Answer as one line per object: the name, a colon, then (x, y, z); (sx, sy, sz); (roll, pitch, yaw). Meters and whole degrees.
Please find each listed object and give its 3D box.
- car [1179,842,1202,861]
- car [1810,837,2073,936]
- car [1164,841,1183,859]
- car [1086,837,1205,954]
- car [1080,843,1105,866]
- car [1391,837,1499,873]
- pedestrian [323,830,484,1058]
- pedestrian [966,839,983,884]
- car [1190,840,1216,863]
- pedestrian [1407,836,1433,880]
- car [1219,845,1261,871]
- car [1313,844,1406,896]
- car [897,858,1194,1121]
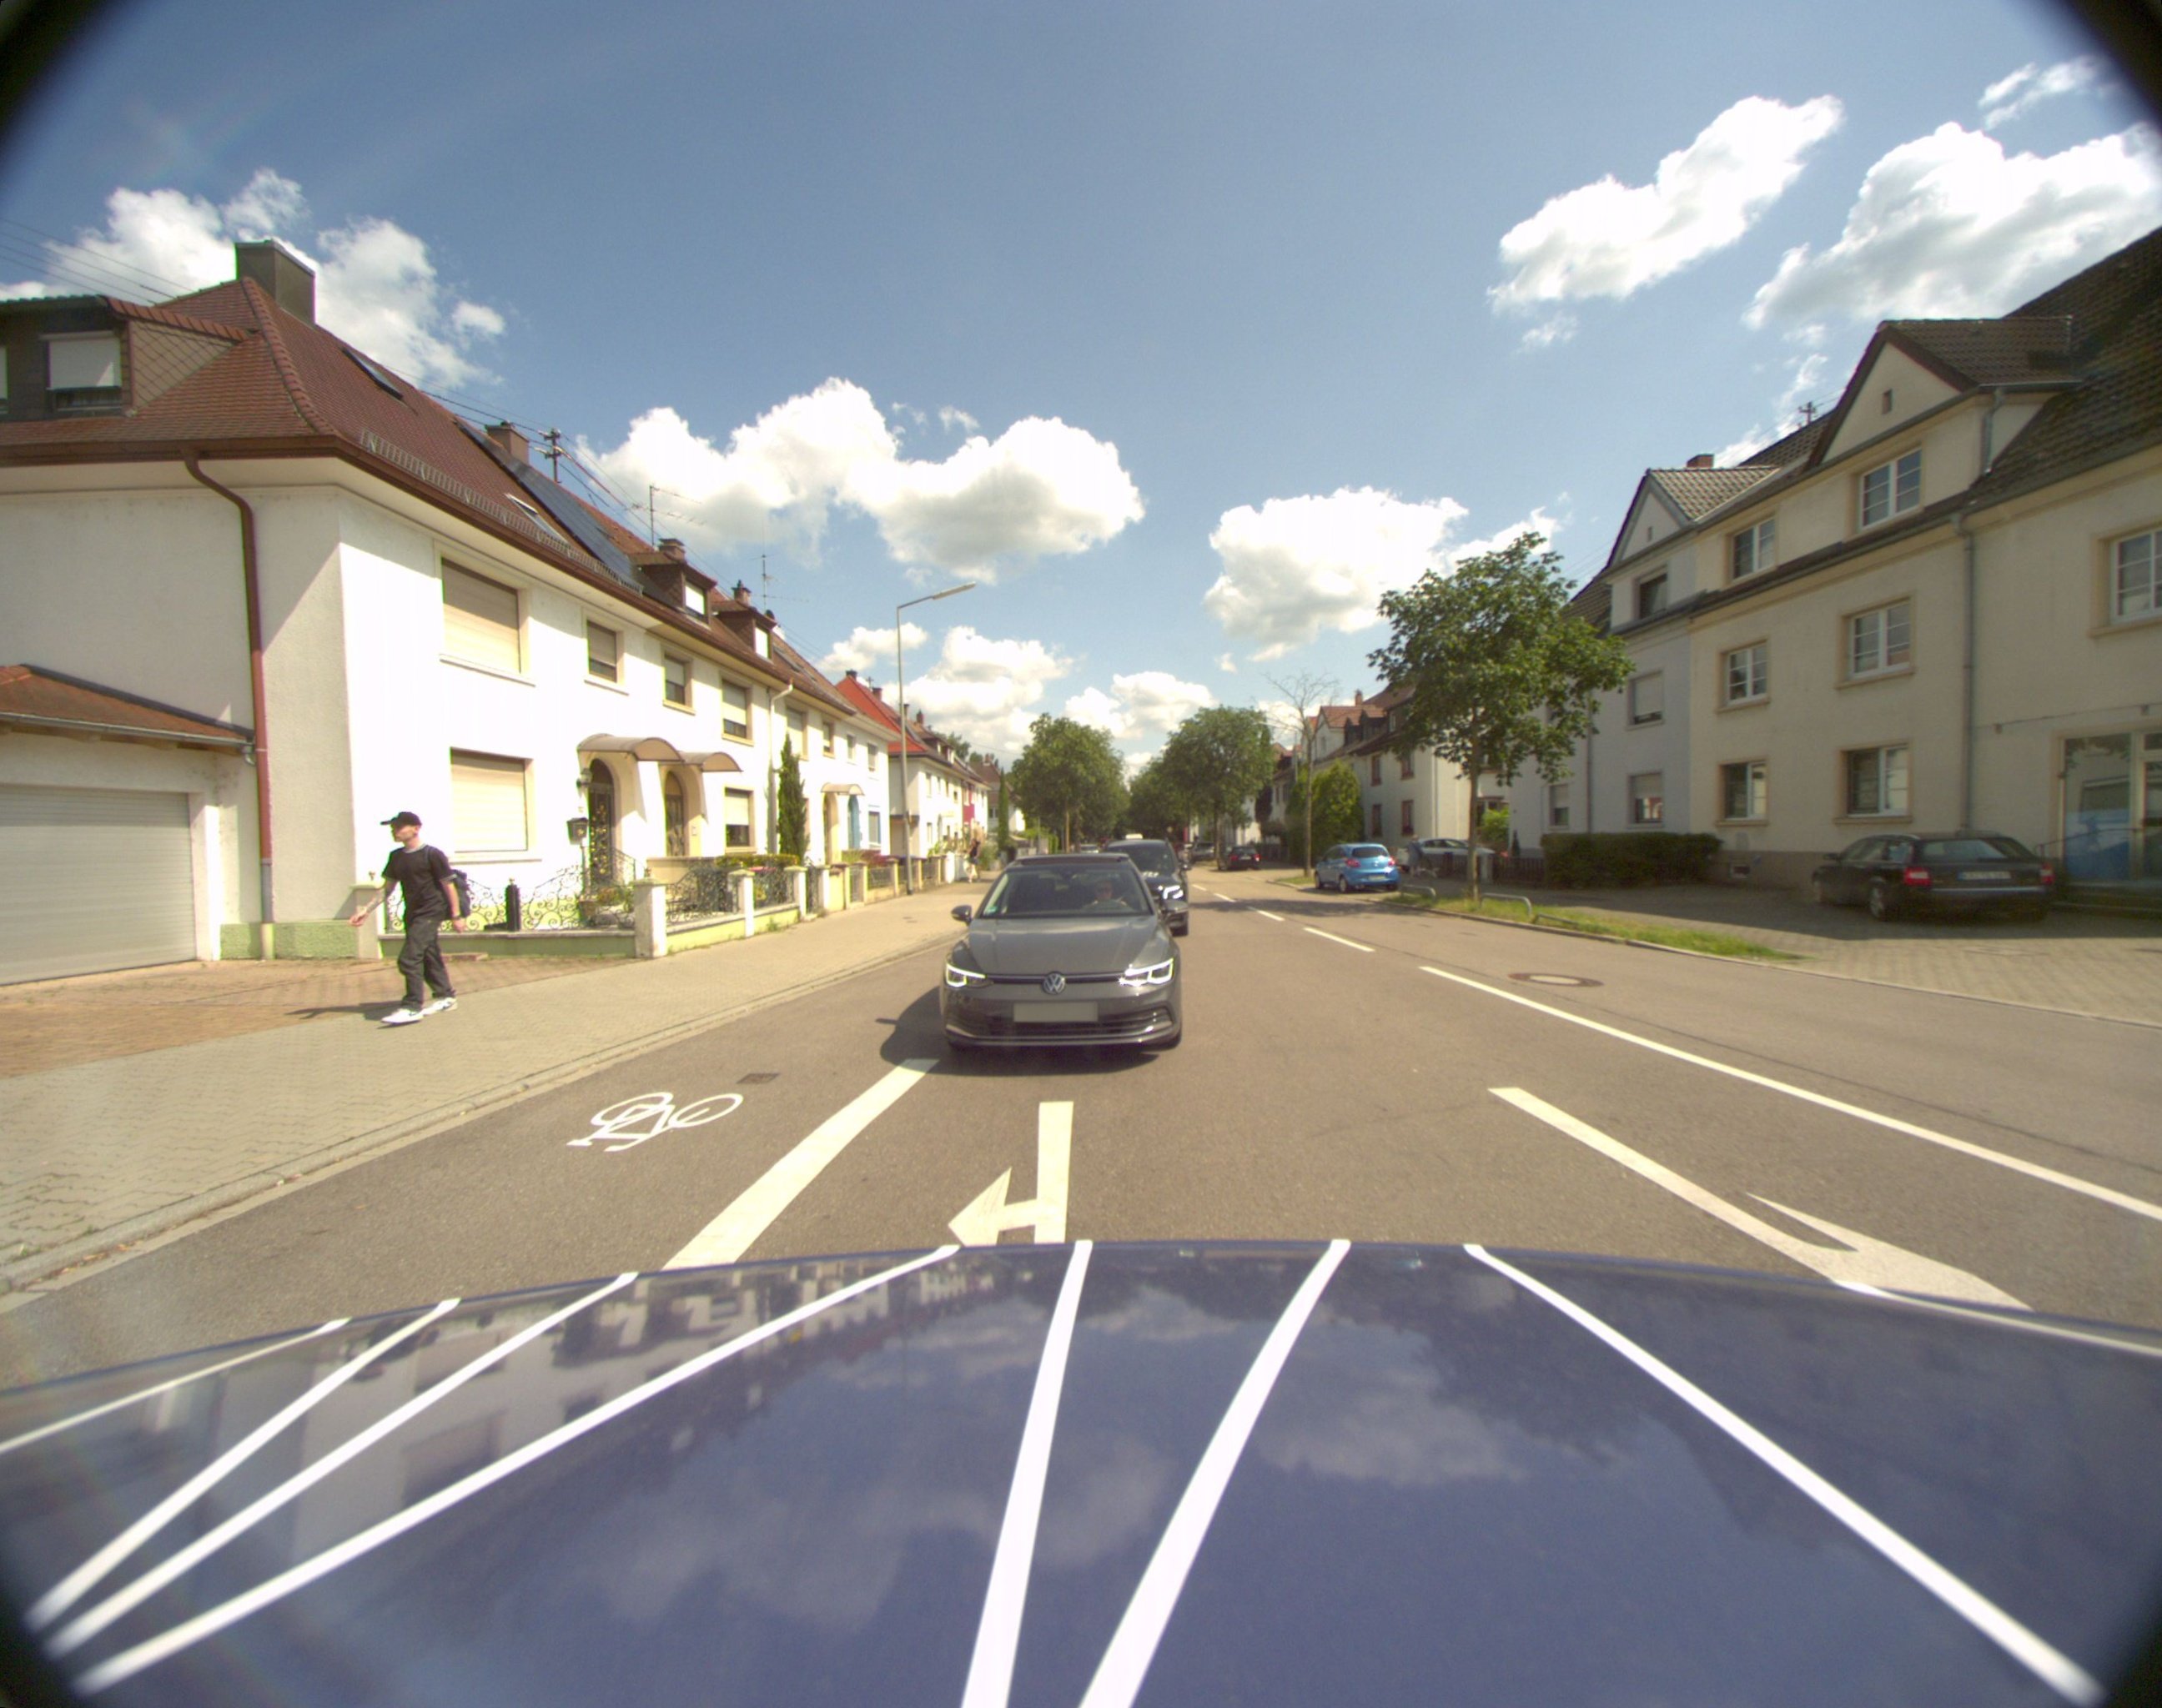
car: (8.814, -0.237, 61.296); (1.623, 1.417, 3.002); (-2, 1, 6)
car: (14.195, 0.425, 12.872); (1.757, 1.378, 4.110); (0, 1, 31)
car: (8.575, -0.370, 70.336); (1.562, 1.645, 3.251); (-1, 1, 4)
car: (1.018, 0.590, 13.919); (1.776, 1.754, 4.873); (-1, 1, 1)
car: (0.812, 0.024, 51.759); (1.381, 1.493, 3.002); (-2, 1, 6)
car: (15.480, 0.047, 32.462); (3.805, 1.446, 1.711); (-1, 1, 4)
pedestrian: (-5.651, 0.684, 6.368); (0.939, 1.758, 0.591); (-2, 2, -43)
pedestrian: (-4.069, 0.281, 29.113); (0.519, 1.701, 0.618); (-1, 2, 2)
car: (8.847, -0.205, 55.259); (1.562, 1.645, 3.573); (-1, 1, 4)
pedestrian: (12.057, 0.141, 27.038); (0.632, 1.527, 0.618); (-1, 1, 2)
car: (8.578, 0.194, 41.313); (1.709, 1.289, 3.918); (-1, 1, 4)
car: (8.519, 0.439, 23.499); (1.709, 1.454, 3.154); (-1, 1, 0)
car: (-0.257, 0.828, 6.930); (1.766, 1.466, 4.686); (-1, 1, -1)
